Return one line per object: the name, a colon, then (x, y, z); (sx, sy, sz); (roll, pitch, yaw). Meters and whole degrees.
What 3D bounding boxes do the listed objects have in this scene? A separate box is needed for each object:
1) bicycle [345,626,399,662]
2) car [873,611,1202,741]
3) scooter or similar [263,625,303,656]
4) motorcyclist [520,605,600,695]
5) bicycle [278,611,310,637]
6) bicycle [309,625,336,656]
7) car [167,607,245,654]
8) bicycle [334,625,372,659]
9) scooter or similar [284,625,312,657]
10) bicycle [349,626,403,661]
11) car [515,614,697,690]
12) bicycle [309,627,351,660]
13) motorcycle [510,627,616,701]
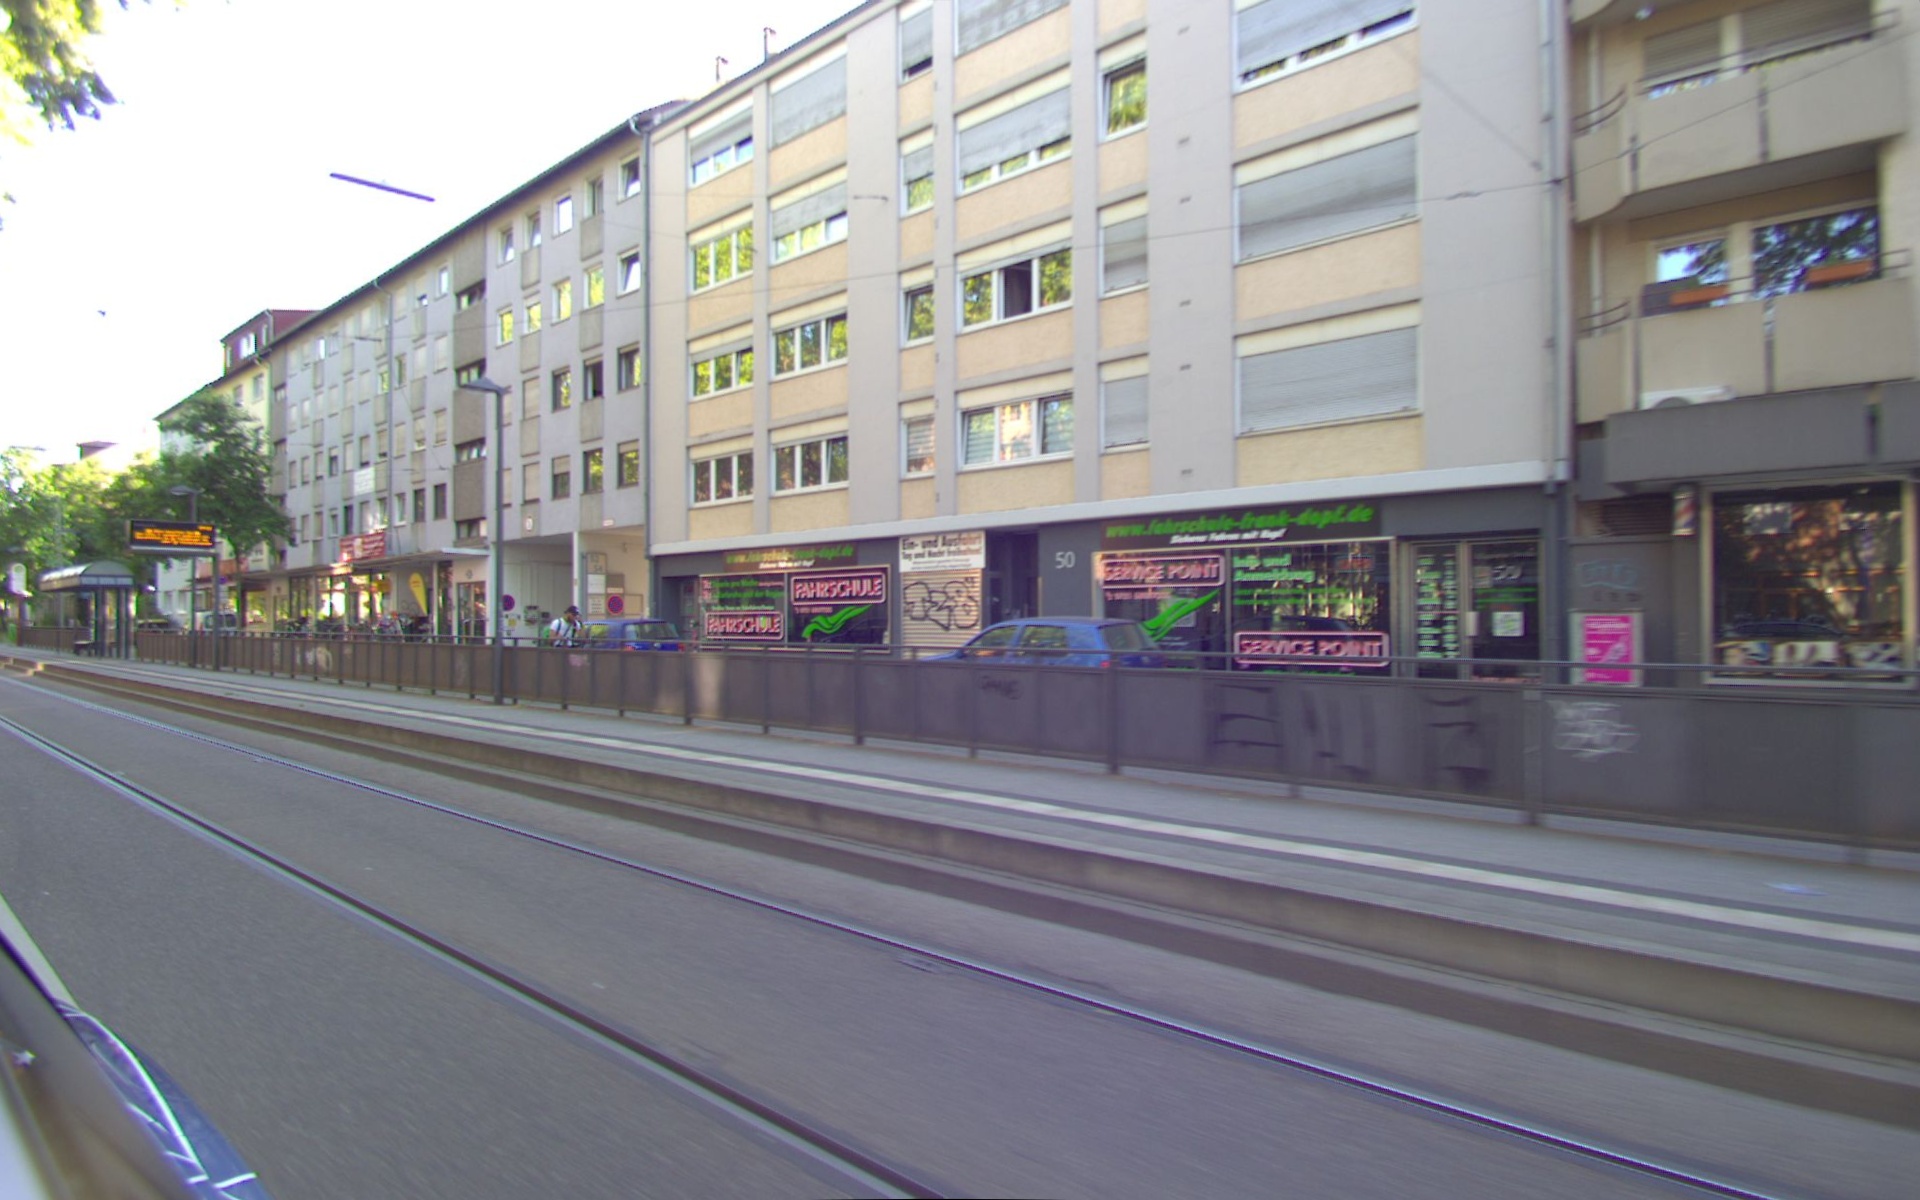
bicycle: (-19.812, 1.467, 34.091); (2.019, 1.165, 0.556); (-1, -2, 26)
car: (0.981, 0.980, 14.347); (4.386, 1.556, 1.935); (-1, -3, 41)
scooter or similar: (-25.949, 1.557, 38.777); (1.259, 1.183, 0.445); (0, -2, 5)
motorcyclist: (-6.680, 0.816, 16.904); (1.015, 1.451, 0.864); (-1, -2, 40)
bicycle: (-31.178, 1.118, 47.382); (2.033, 1.165, 0.565); (-1, -2, 35)
bicycle: (-24.656, 1.547, 39.120); (1.688, 1.165, 0.506); (-2, -2, 44)
car: (-32.632, 1.314, 43.744); (4.046, 1.949, 1.785); (-1, -2, 40)
bicycle: (-21.558, 1.475, 35.933); (1.748, 1.165, 0.488); (-1, -2, 35)
scooter or similar: (-24.868, 1.534, 38.015); (1.272, 1.183, 0.440); (-1, -2, 36)
bicycle: (-19.934, 1.468, 34.519); (2.019, 1.165, 0.556); (-1, -2, 26)
car: (-7.627, 1.062, 21.609); (4.280, 1.475, 1.776); (-1, -3, 41)
bicycle: (-23.100, 1.582, 37.092); (2.033, 1.165, 0.565); (-1, -2, 35)
motorcycle: (-6.631, 1.031, 16.873); (1.913, 1.173, 0.840); (-1, -2, 41)
